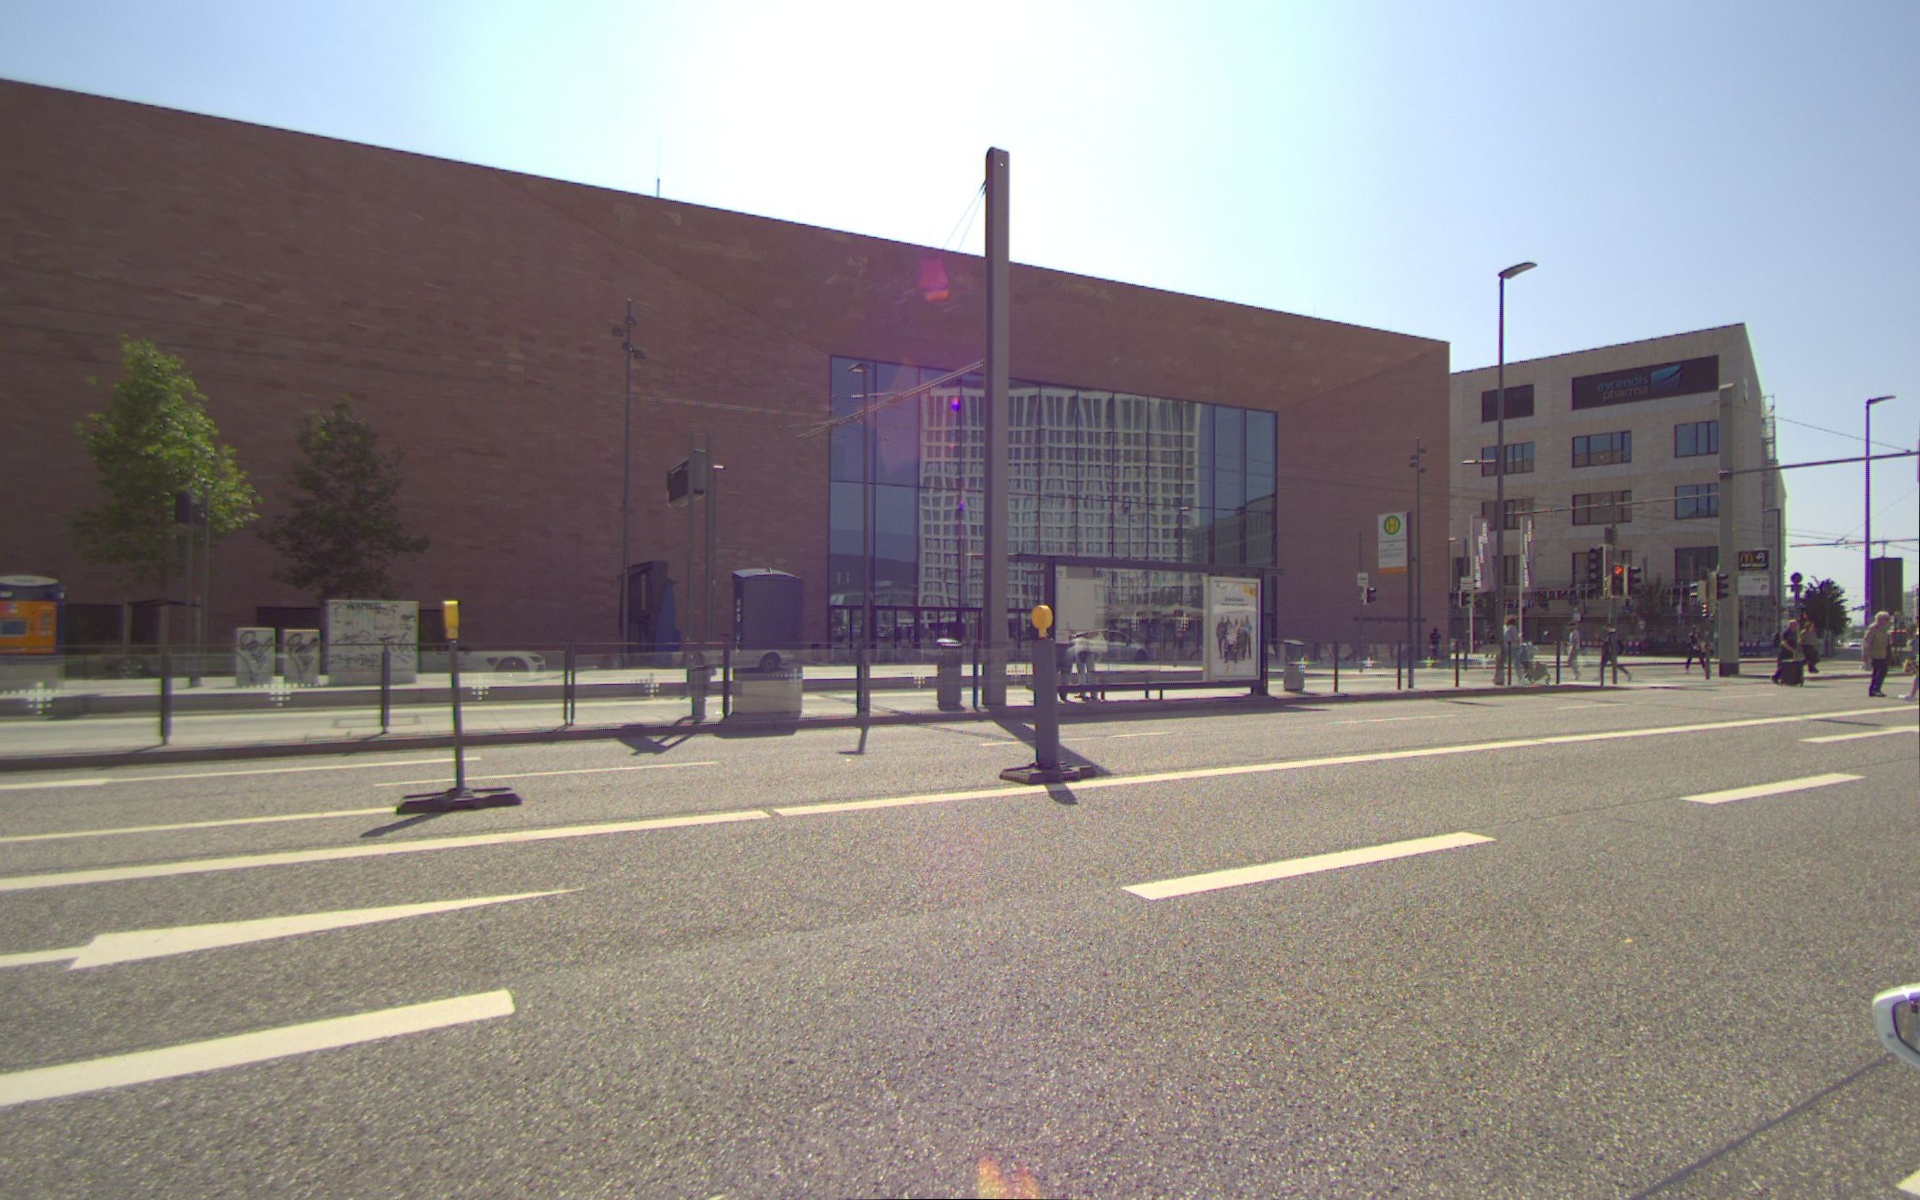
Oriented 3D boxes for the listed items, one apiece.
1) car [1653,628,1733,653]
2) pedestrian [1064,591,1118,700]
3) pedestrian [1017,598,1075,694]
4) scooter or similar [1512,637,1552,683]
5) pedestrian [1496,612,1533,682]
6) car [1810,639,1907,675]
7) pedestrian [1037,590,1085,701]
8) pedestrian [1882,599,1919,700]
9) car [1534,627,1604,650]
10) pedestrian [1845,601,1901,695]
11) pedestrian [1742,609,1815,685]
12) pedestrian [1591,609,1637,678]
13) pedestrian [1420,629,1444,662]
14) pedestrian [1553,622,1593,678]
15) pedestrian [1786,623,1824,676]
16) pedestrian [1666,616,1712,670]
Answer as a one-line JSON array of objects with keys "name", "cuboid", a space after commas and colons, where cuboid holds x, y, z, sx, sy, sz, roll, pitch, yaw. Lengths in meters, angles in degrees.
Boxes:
[{"name": "car", "cuboid": [46.962, 2.572, 64.422, 1.670, 1.505, 3.854, 1, -2, -39]}, {"name": "pedestrian", "cuboid": [2.292, 0.782, 17.568, 0.654, 1.844, 0.720, 1, 0, 37]}, {"name": "pedestrian", "cuboid": [1.689, 0.888, 19.760, 0.815, 1.844, 0.807, 1, 0, -29]}, {"name": "scooter or similar", "cuboid": [13.824, 1.435, 24.271, 0.824, 1.073, 0.502, 1, -1, -30]}, {"name": "pedestrian", "cuboid": [13.186, 1.114, 23.880, 0.642, 1.643, 0.502, 1, -1, -30]}, {"name": "car", "cuboid": [50.891, 3.207, 56.937, 1.784, 1.840, 3.906, 2, -1, -41]}, {"name": "pedestrian", "cuboid": [1.721, 0.764, 17.111, 0.543, 1.844, 0.597, 1, 0, 39]}, {"name": "pedestrian", "cuboid": [18.458, 0.941, 19.223, 0.789, 1.915, 1.008, 1, -1, -32]}, {"name": "car", "cuboid": [42.702, 2.685, 70.499, 1.670, 1.505, 3.854, 1, -2, -39]}, {"name": "pedestrian", "cuboid": [19.124, 0.994, 21.036, 0.786, 1.915, 0.634, 1, -1, -28]}, {"name": "pedestrian", "cuboid": [21.571, 1.218, 26.476, 1.046, 1.915, 1.164, -1, -1, -28]}, {"name": "pedestrian", "cuboid": [19.714, 1.302, 30.279, 1.009, 2.040, 0.949, -1, -2, 42]}, {"name": "pedestrian", "cuboid": [23.074, 2.234, 49.130, 0.880, 1.592, 0.707, 1, -1, -31]}, {"name": "pedestrian", "cuboid": [19.014, 1.532, 31.152, 0.883, 1.696, 1.008, -1, -2, 42]}, {"name": "pedestrian", "cuboid": [27.527, 1.597, 32.736, 0.681, 1.703, 0.672, 0, -1, 11]}, {"name": "pedestrian", "cuboid": [26.343, 1.543, 36.307, 0.966, 1.915, 0.889, 0, -1, -10]}]
